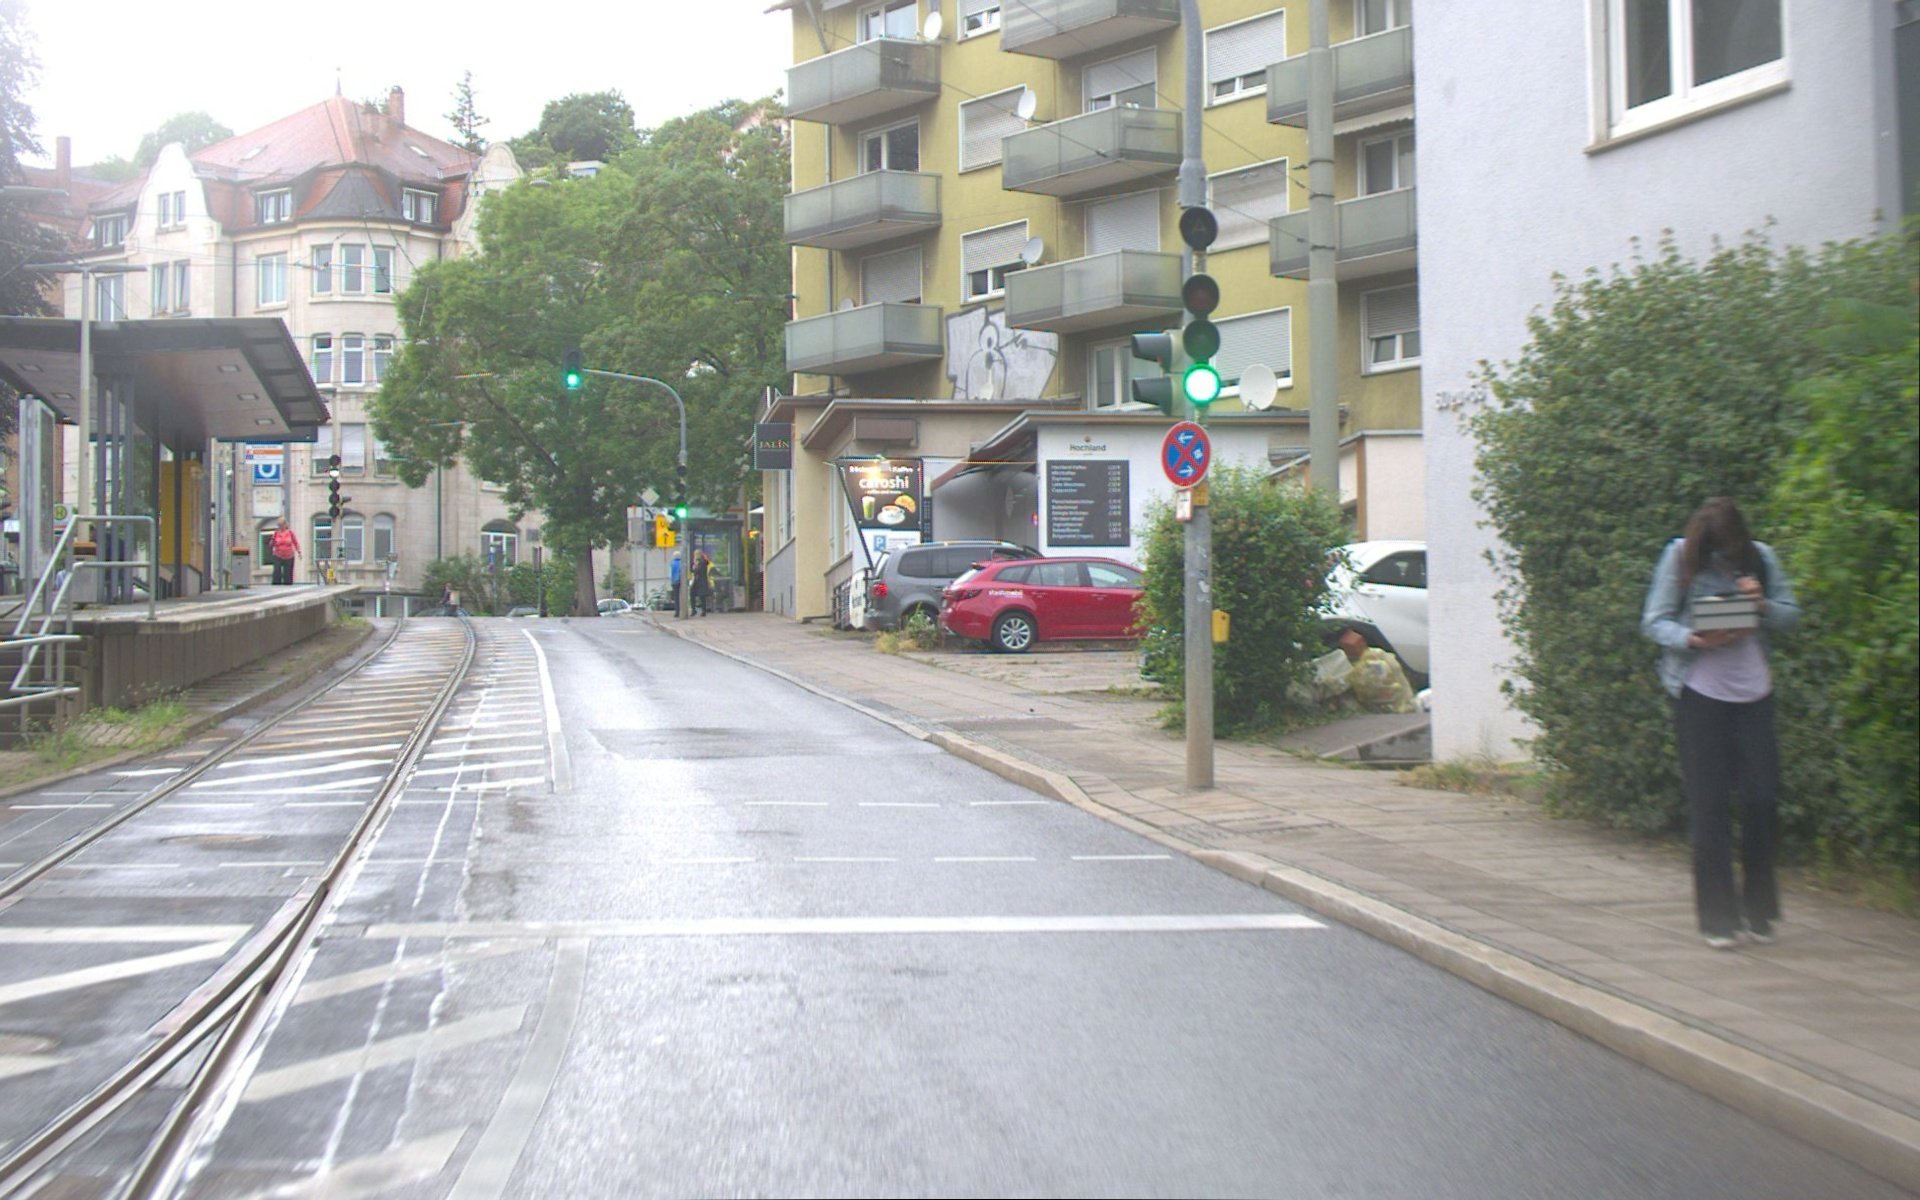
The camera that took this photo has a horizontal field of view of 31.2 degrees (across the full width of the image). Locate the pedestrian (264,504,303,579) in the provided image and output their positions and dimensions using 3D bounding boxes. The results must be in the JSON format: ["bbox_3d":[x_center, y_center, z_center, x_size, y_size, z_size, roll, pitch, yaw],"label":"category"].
[{"bbox_3d":[-13.719,-1.184,69.695,0.657,1.462,0.772,1,-3,-4],"label":"pedestrian"}]

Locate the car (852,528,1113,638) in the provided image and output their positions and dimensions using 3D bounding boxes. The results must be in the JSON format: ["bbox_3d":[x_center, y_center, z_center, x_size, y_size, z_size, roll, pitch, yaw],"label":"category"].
[{"bbox_3d":[0.341,-0.259,55.729,3.986,1.640,1.808,1,-2,-8],"label":"car"}]

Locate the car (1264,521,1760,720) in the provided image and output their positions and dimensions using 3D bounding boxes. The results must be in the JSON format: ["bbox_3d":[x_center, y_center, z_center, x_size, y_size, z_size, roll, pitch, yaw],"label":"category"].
[{"bbox_3d":[4.887,0.211,30.701,3.986,1.640,1.808,1,-2,-9],"label":"car"}]

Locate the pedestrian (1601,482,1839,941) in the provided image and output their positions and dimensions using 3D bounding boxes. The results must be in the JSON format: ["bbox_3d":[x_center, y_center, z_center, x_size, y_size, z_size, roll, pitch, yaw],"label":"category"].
[{"bbox_3d":[2.762,0.402,12.539,0.644,1.623,0.699,1,-1,-6],"label":"pedestrian"}]

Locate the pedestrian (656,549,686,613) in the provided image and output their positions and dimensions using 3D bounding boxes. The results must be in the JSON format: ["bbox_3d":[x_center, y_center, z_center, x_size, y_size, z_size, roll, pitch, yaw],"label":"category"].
[{"bbox_3d":[-6.869,-0.448,81.696,0.578,1.462,0.544,2,-4,-15],"label":"pedestrian"}]

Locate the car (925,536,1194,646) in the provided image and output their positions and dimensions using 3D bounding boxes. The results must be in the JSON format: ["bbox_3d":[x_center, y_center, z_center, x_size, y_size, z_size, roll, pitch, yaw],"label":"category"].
[{"bbox_3d":[1.484,-0.114,52.160,3.841,1.537,1.808,1,-2,-6],"label":"car"}]
